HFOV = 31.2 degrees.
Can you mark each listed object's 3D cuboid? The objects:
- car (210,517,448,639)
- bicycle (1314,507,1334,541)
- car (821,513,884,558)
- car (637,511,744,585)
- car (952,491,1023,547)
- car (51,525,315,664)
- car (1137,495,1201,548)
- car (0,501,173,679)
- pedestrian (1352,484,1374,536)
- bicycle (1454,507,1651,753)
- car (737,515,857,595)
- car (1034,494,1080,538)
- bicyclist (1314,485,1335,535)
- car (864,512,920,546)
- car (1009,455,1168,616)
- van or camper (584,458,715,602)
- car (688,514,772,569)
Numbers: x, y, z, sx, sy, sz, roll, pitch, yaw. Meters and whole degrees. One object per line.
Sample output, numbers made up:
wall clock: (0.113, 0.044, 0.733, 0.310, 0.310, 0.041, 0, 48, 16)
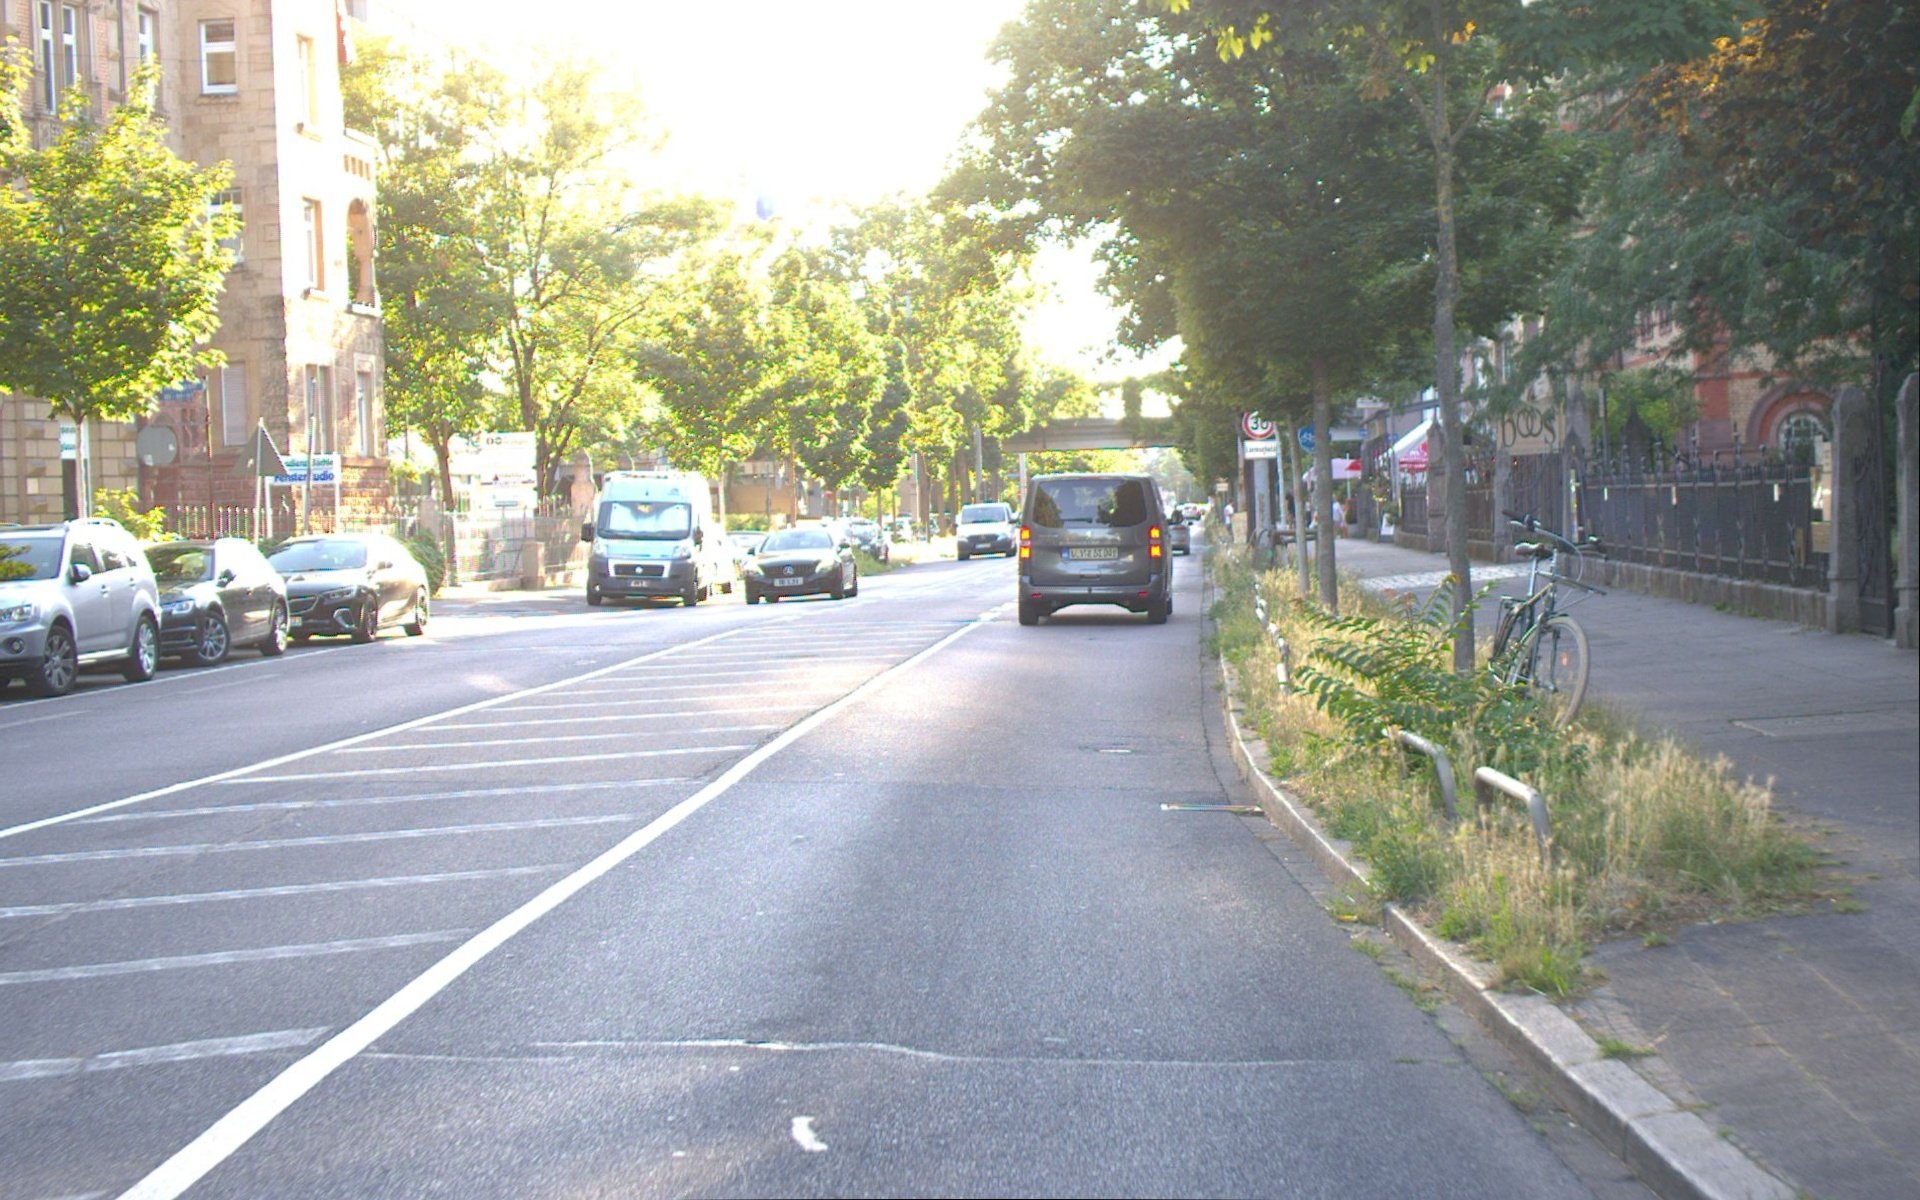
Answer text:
car: (-8.395, -0.336, 46.172, 1.994, 1.478, 4.829, -1, 2, 4)
bicycle: (11.143, -2.337, 105.219, 0.517, 1.036, 2.089, 0, 2, 4)
car: (-3.369, -2.044, 108.467, 1.638, 1.381, 4.000, 0, 2, 3)
car: (-5.803, -1.156, 74.465, 1.746, 1.529, 4.302, 0, 2, 3)
car: (0.972, -2.813, 119.038, 1.994, 1.825, 5.169, -2, 1, 5)
car: (-8.981, -0.110, 40.132, 1.736, 1.440, 4.625, -1, 2, 4)
car: (6.834, -2.588, 112.523, 1.994, 1.628, 4.000, -1, 2, 3)
car: (-9.433, -0.130, 34.179, 1.866, 1.639, 4.571, -2, 1, 3)
pedestrian: (12.717, -2.830, 108.471, 0.644, 1.627, 0.656, 0, 1, 4)
bicycle: (2.957, 0.117, 17.320, 0.646, 1.163, 1.931, 0, 2, 0)
car: (-3.068, -0.889, 65.585, 1.766, 1.397, 4.544, -2, 2, 3)
car: (4.352, -3.747, 153.599, 1.833, 1.846, 4.474, -3, 1, 3)
bicyclist: (11.154, -2.756, 105.266, 0.595, 1.527, 0.893, 0, 2, 4)
car: (-2.890, -3.039, 147.519, 1.994, 1.409, 4.237, 0, 2, 4)
car: (1.685, -0.851, 44.106, 1.887, 1.918, 3.839, -2, 2, 3)
van or camper: (-5.957, -1.378, 66.589, 1.993, 2.659, 6.039, 0, 2, 0)
car: (-5.401, -1.402, 81.025, 1.536, 1.244, 3.614, 0, 2, 3)
